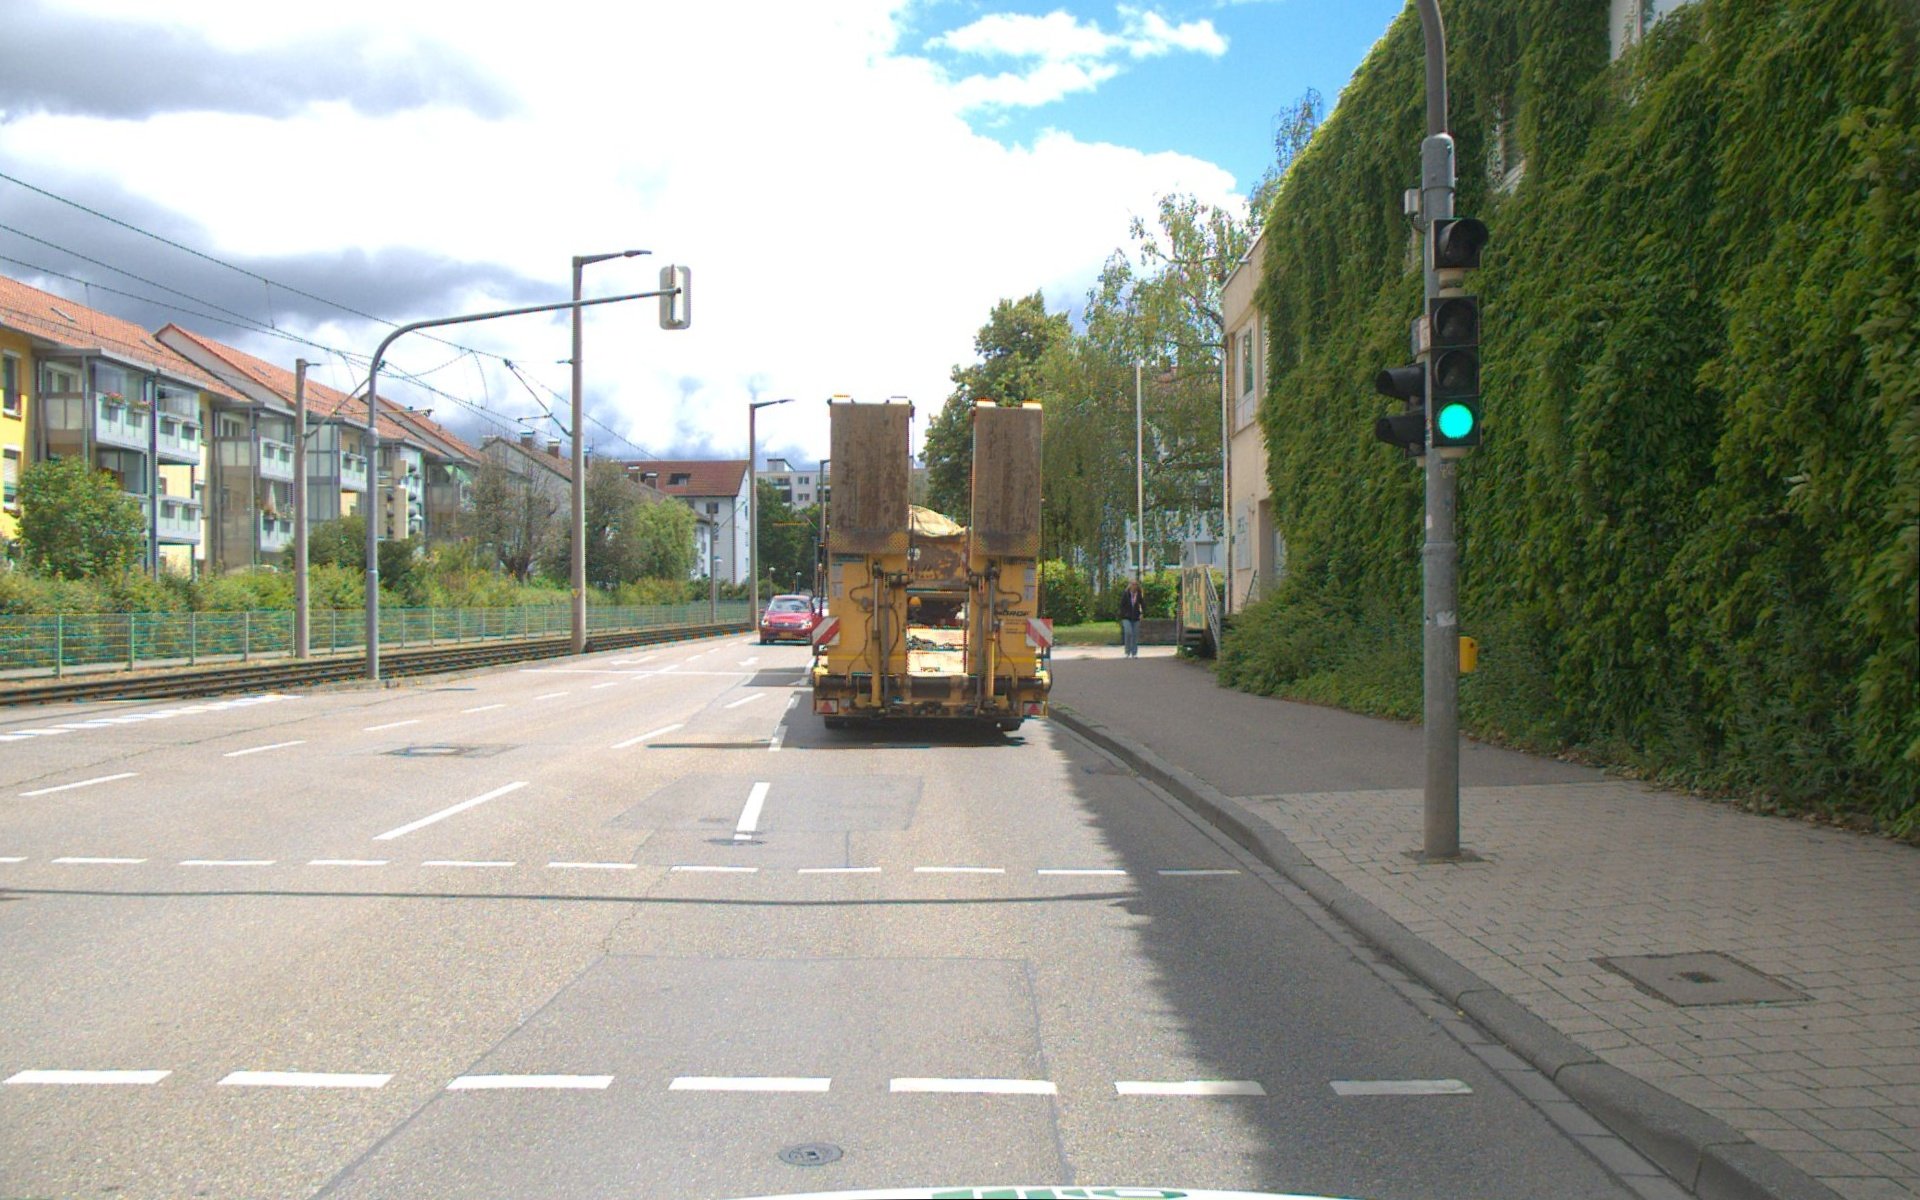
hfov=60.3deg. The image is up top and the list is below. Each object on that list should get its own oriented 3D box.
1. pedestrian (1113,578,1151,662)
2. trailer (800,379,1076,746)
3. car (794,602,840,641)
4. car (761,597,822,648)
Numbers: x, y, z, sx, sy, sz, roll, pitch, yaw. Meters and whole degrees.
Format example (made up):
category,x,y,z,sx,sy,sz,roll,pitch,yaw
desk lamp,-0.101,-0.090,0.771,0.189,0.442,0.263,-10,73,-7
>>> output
category,x,y,z,sx,sy,sz,roll,pitch,yaw
pedestrian,3.763,0.441,36.211,0.792,1.802,0.817,1,-1,6
trailer,-0.763,-0.357,23.146,2.772,3.710,12.340,1,0,-5
car,-5.924,0.868,69.024,1.725,1.579,3.998,1,0,-3
car,-5.444,0.716,53.700,1.630,1.579,3.999,1,0,-1
